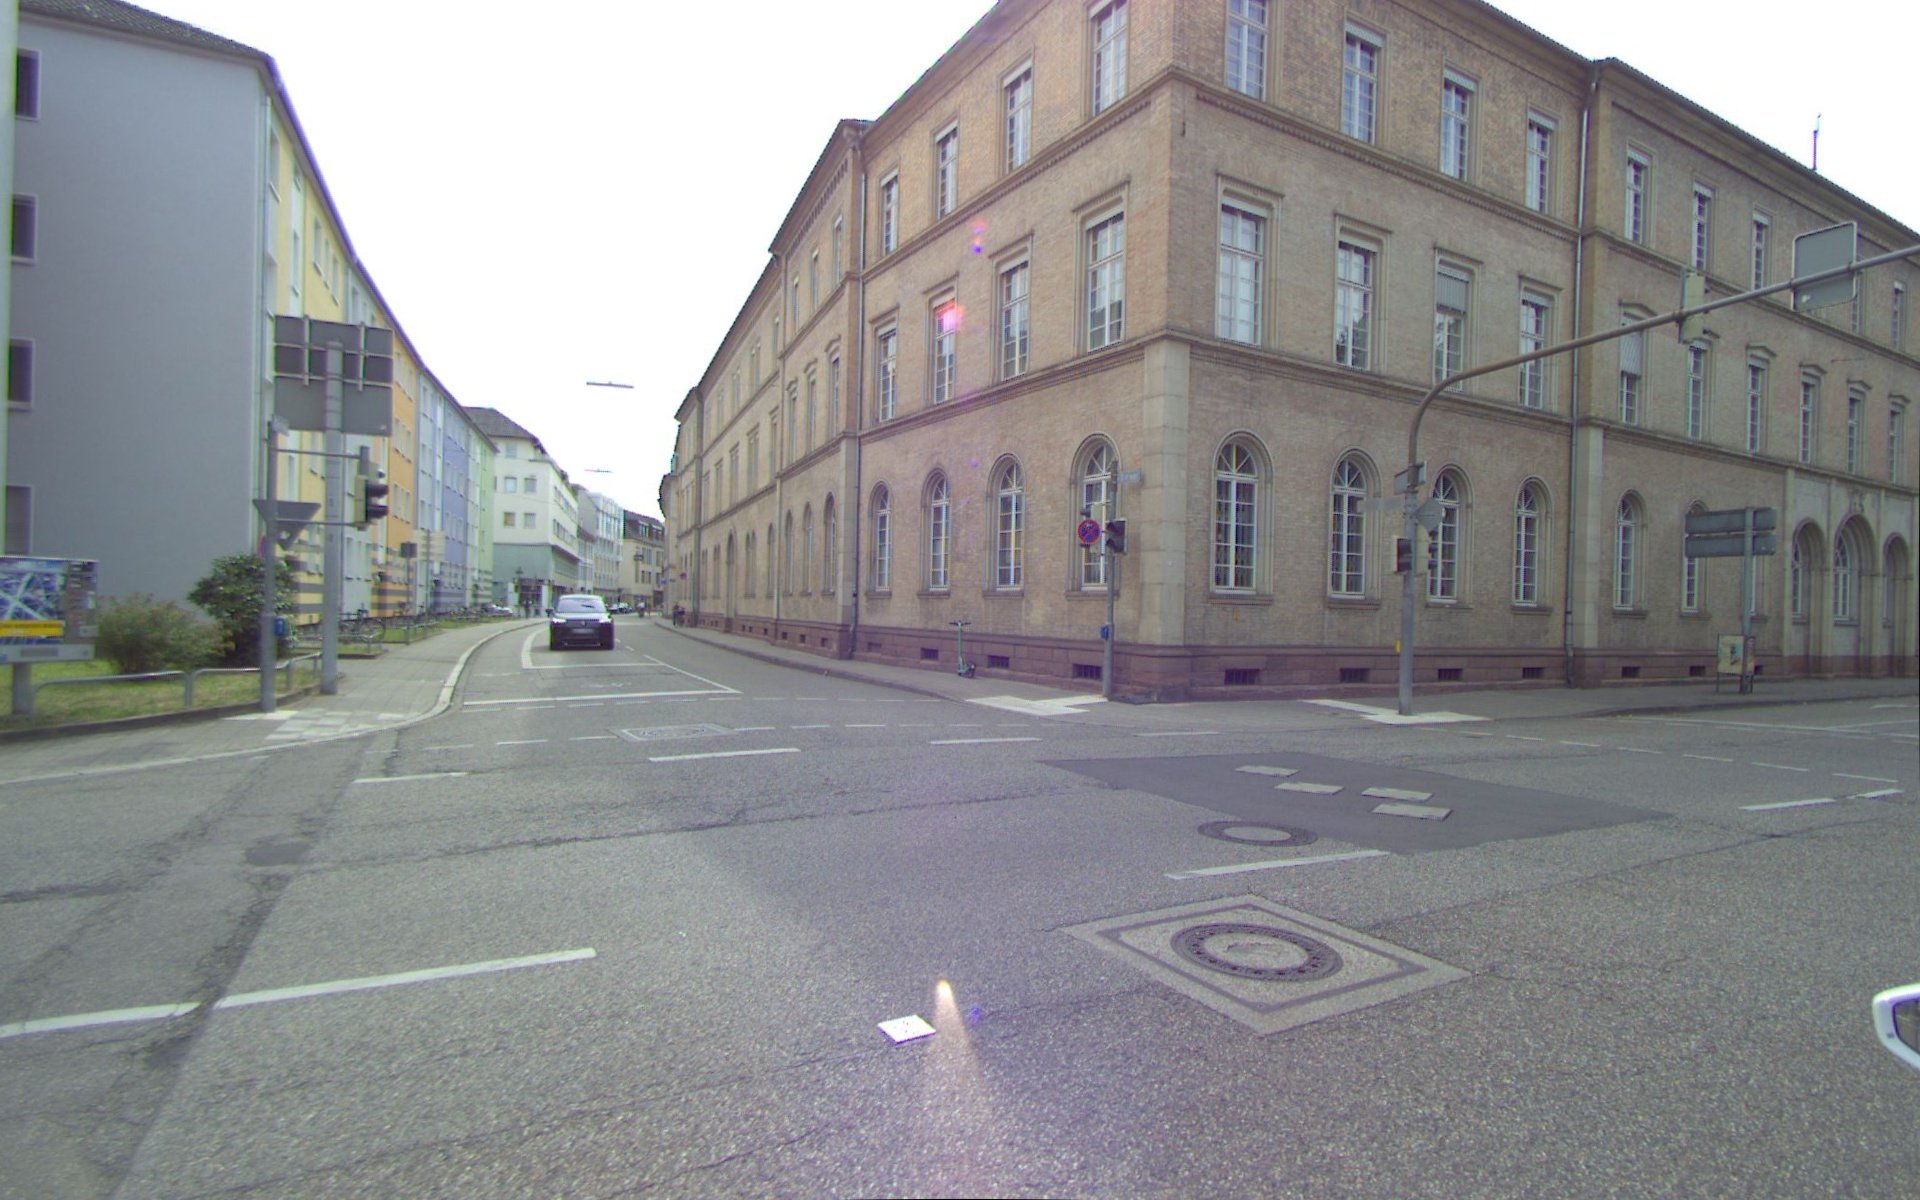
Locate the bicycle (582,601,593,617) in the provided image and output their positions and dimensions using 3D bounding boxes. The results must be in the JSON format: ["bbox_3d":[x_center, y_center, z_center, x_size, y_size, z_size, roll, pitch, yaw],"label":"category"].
[{"bbox_3d":[-31.742,0.779,85.485,0.679,1.235,2.840,1,2,-24],"label":"bicycle"}]

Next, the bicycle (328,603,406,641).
[{"bbox_3d":[-16.855,0.638,28.589,1.842,1.025,0.558,1,2,-27],"label":"bicycle"}]

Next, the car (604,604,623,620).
[{"bbox_3d":[-48.519,1.647,140.597,1.965,2.041,3.990,2,1,-12],"label":"car"}]

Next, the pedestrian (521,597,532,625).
[{"bbox_3d":[-32.098,0.806,74.358,0.543,2.041,0.731,2,2,-11],"label":"pedestrian"}]

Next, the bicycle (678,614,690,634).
[{"bbox_3d":[-16.745,1.460,60.969,0.560,1.085,2.257,2,1,-18],"label":"bicycle"}]

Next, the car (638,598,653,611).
[{"bbox_3d":[-53.595,0.775,171.194,1.966,2.041,3.989,2,1,-13],"label":"car"}]

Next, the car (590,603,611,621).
[{"bbox_3d":[-44.365,1.471,123.897,1.966,2.041,3.988,2,1,-14],"label":"car"}]

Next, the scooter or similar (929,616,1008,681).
[{"bbox_3d":[0.136,0.984,21.133,0.553,1.180,2.358,1,2,-29],"label":"scooter or similar"}]

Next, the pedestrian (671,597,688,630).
[{"bbox_3d":[-17.056,0.801,61.098,0.868,1.962,0.797,2,2,-19],"label":"pedestrian"}]

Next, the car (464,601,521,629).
[{"bbox_3d":[-36.762,1.205,79.019,3.951,2.041,1.984,1,2,-29],"label":"car"}]

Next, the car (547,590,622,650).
[{"bbox_3d":[-11.764,0.580,31.299,1.873,1.622,3.974,1,1,-25],"label":"car"}]
